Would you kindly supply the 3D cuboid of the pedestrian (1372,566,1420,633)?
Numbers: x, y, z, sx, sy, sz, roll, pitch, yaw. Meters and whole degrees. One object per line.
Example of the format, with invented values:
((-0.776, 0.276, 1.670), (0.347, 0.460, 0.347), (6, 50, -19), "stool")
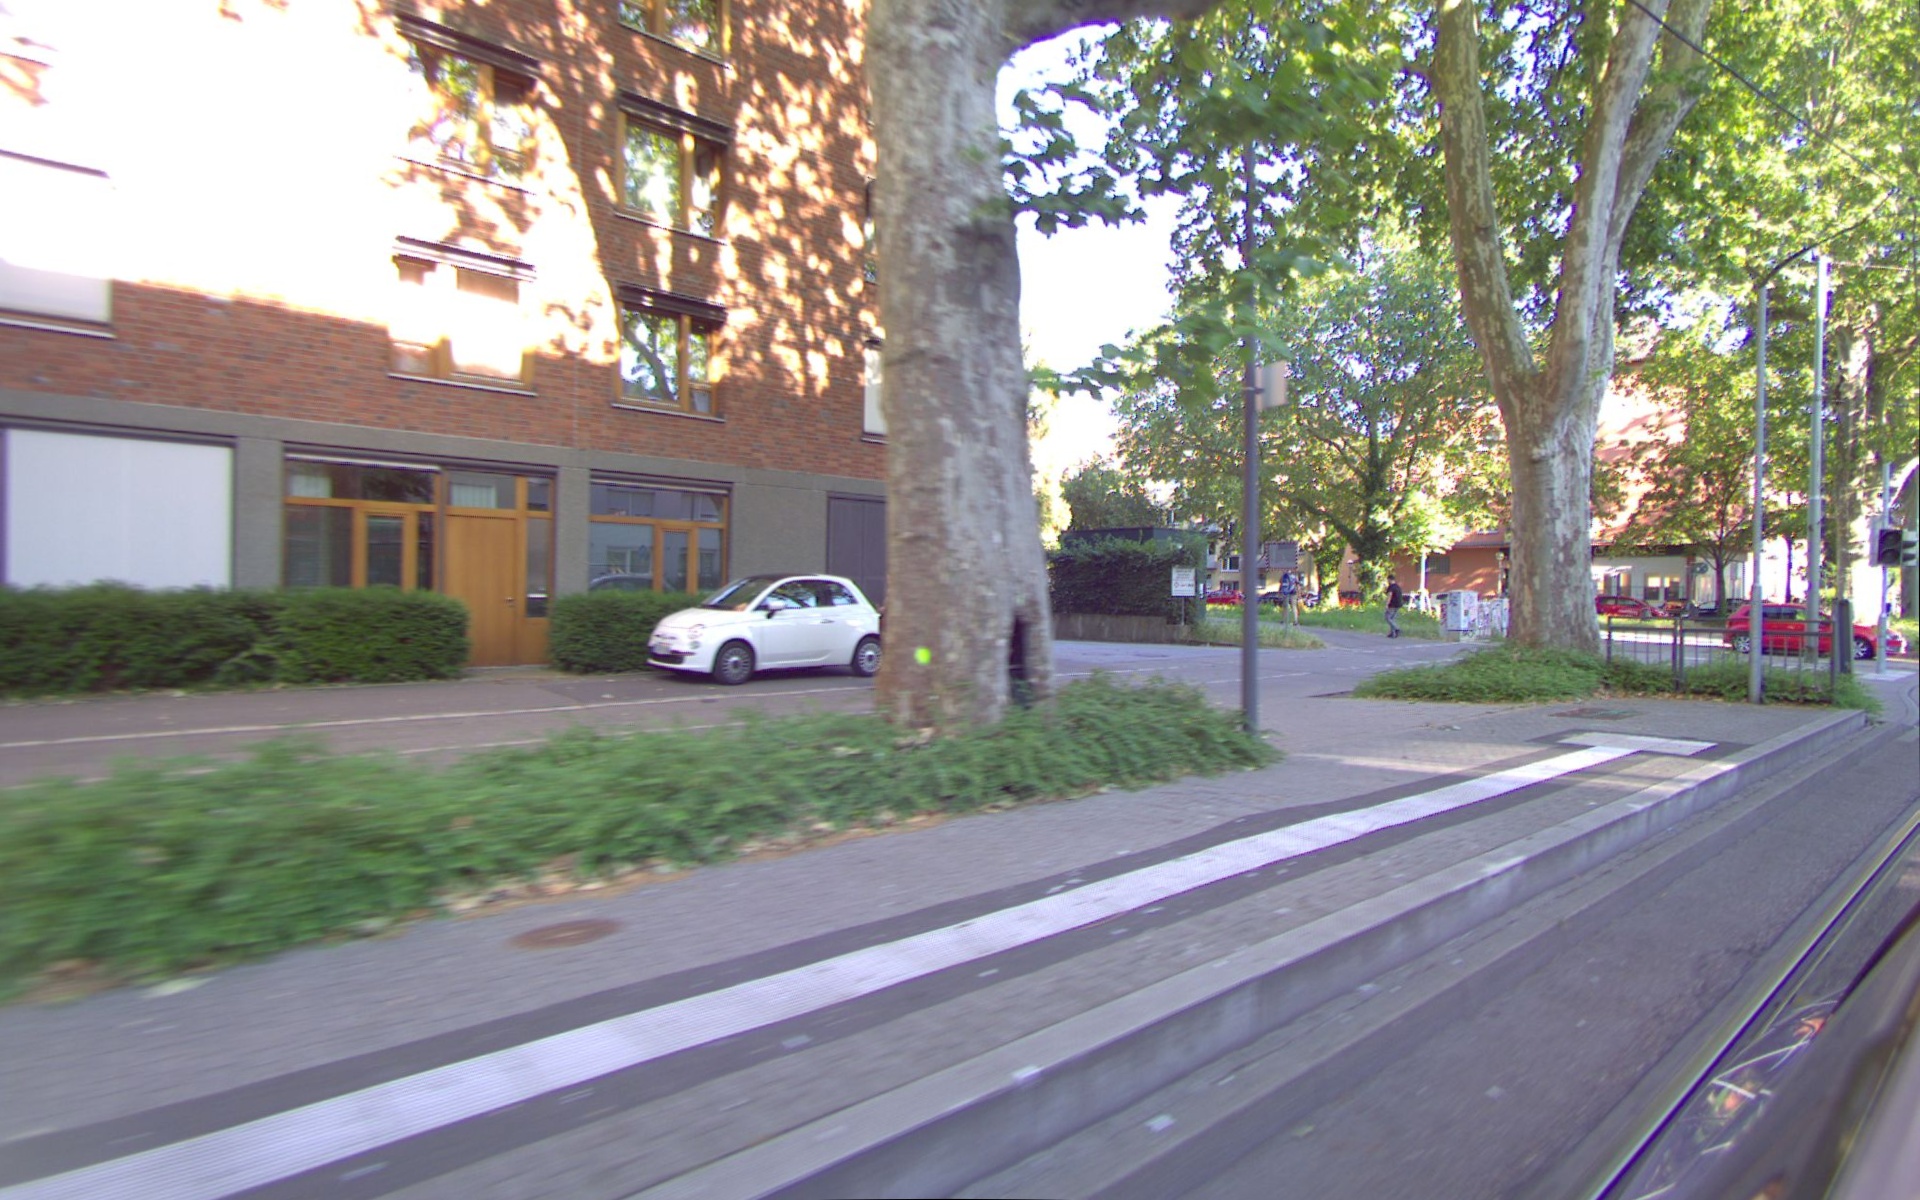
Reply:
((12.358, -0.021, 28.676), (0.994, 1.833, 0.850), (2, 1, 44), "pedestrian")

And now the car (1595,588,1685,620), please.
((34.734, 0.179, 51.737), (1.655, 1.470, 3.543), (0, 1, -42), "car")

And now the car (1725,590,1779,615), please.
((47.910, 0.132, 61.184), (4.389, 1.452, 1.752), (0, 2, -41), "car")

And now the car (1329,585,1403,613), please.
((25.148, -0.079, 62.755), (1.655, 1.601, 3.923), (0, 1, -42), "car")

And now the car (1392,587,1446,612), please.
((30.982, -0.069, 68.234), (4.503, 1.594, 1.790), (0, 1, -45), "car")

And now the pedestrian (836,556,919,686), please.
((-1.113, 0.266, 13.656), (0.820, 1.690, 0.737), (0, 1, -41), "pedestrian")

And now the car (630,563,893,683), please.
((-2.775, 0.265, 14.478), (3.359, 1.514, 1.602), (0, 1, -42), "car")

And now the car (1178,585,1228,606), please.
((19.321, -0.348, 80.404), (4.503, 1.594, 1.790), (0, 1, -45), "car")

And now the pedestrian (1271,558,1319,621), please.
((10.577, -0.340, 31.951), (0.983, 1.886, 1.000), (6, 4, 44), "pedestrian")

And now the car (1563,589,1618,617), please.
((37.758, 0.167, 60.572), (4.503, 1.594, 1.790), (0, 1, -45), "car")

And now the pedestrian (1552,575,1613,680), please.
((10.314, 0.432, 16.760), (0.725, 1.690, 0.653), (0, 1, -41), "pedestrian")

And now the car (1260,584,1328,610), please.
((21.872, -0.195, 66.306), (1.655, 1.601, 3.923), (0, 1, -42), "car")

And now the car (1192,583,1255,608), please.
((18.214, -0.318, 70.121), (1.655, 1.601, 3.923), (0, 1, -42), "car")

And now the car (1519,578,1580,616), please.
((36.247, -0.183, 62.132), (5.000, 2.211, 1.914), (0, 1, -44), "car")

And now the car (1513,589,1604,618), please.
((32.422, 0.165, 54.918), (1.655, 1.470, 3.923), (0, 1, -42), "car")

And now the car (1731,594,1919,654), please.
((23.913, 0.614, 27.945), (1.618, 1.441, 3.896), (0, 1, -37), "car")

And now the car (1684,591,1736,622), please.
((41.713, 0.344, 56.255), (1.789, 1.594, 4.505), (2, 1, 44), "car")

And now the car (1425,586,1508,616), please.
((29.278, 0.020, 58.549), (1.655, 1.601, 3.923), (0, 1, -42), "car")
